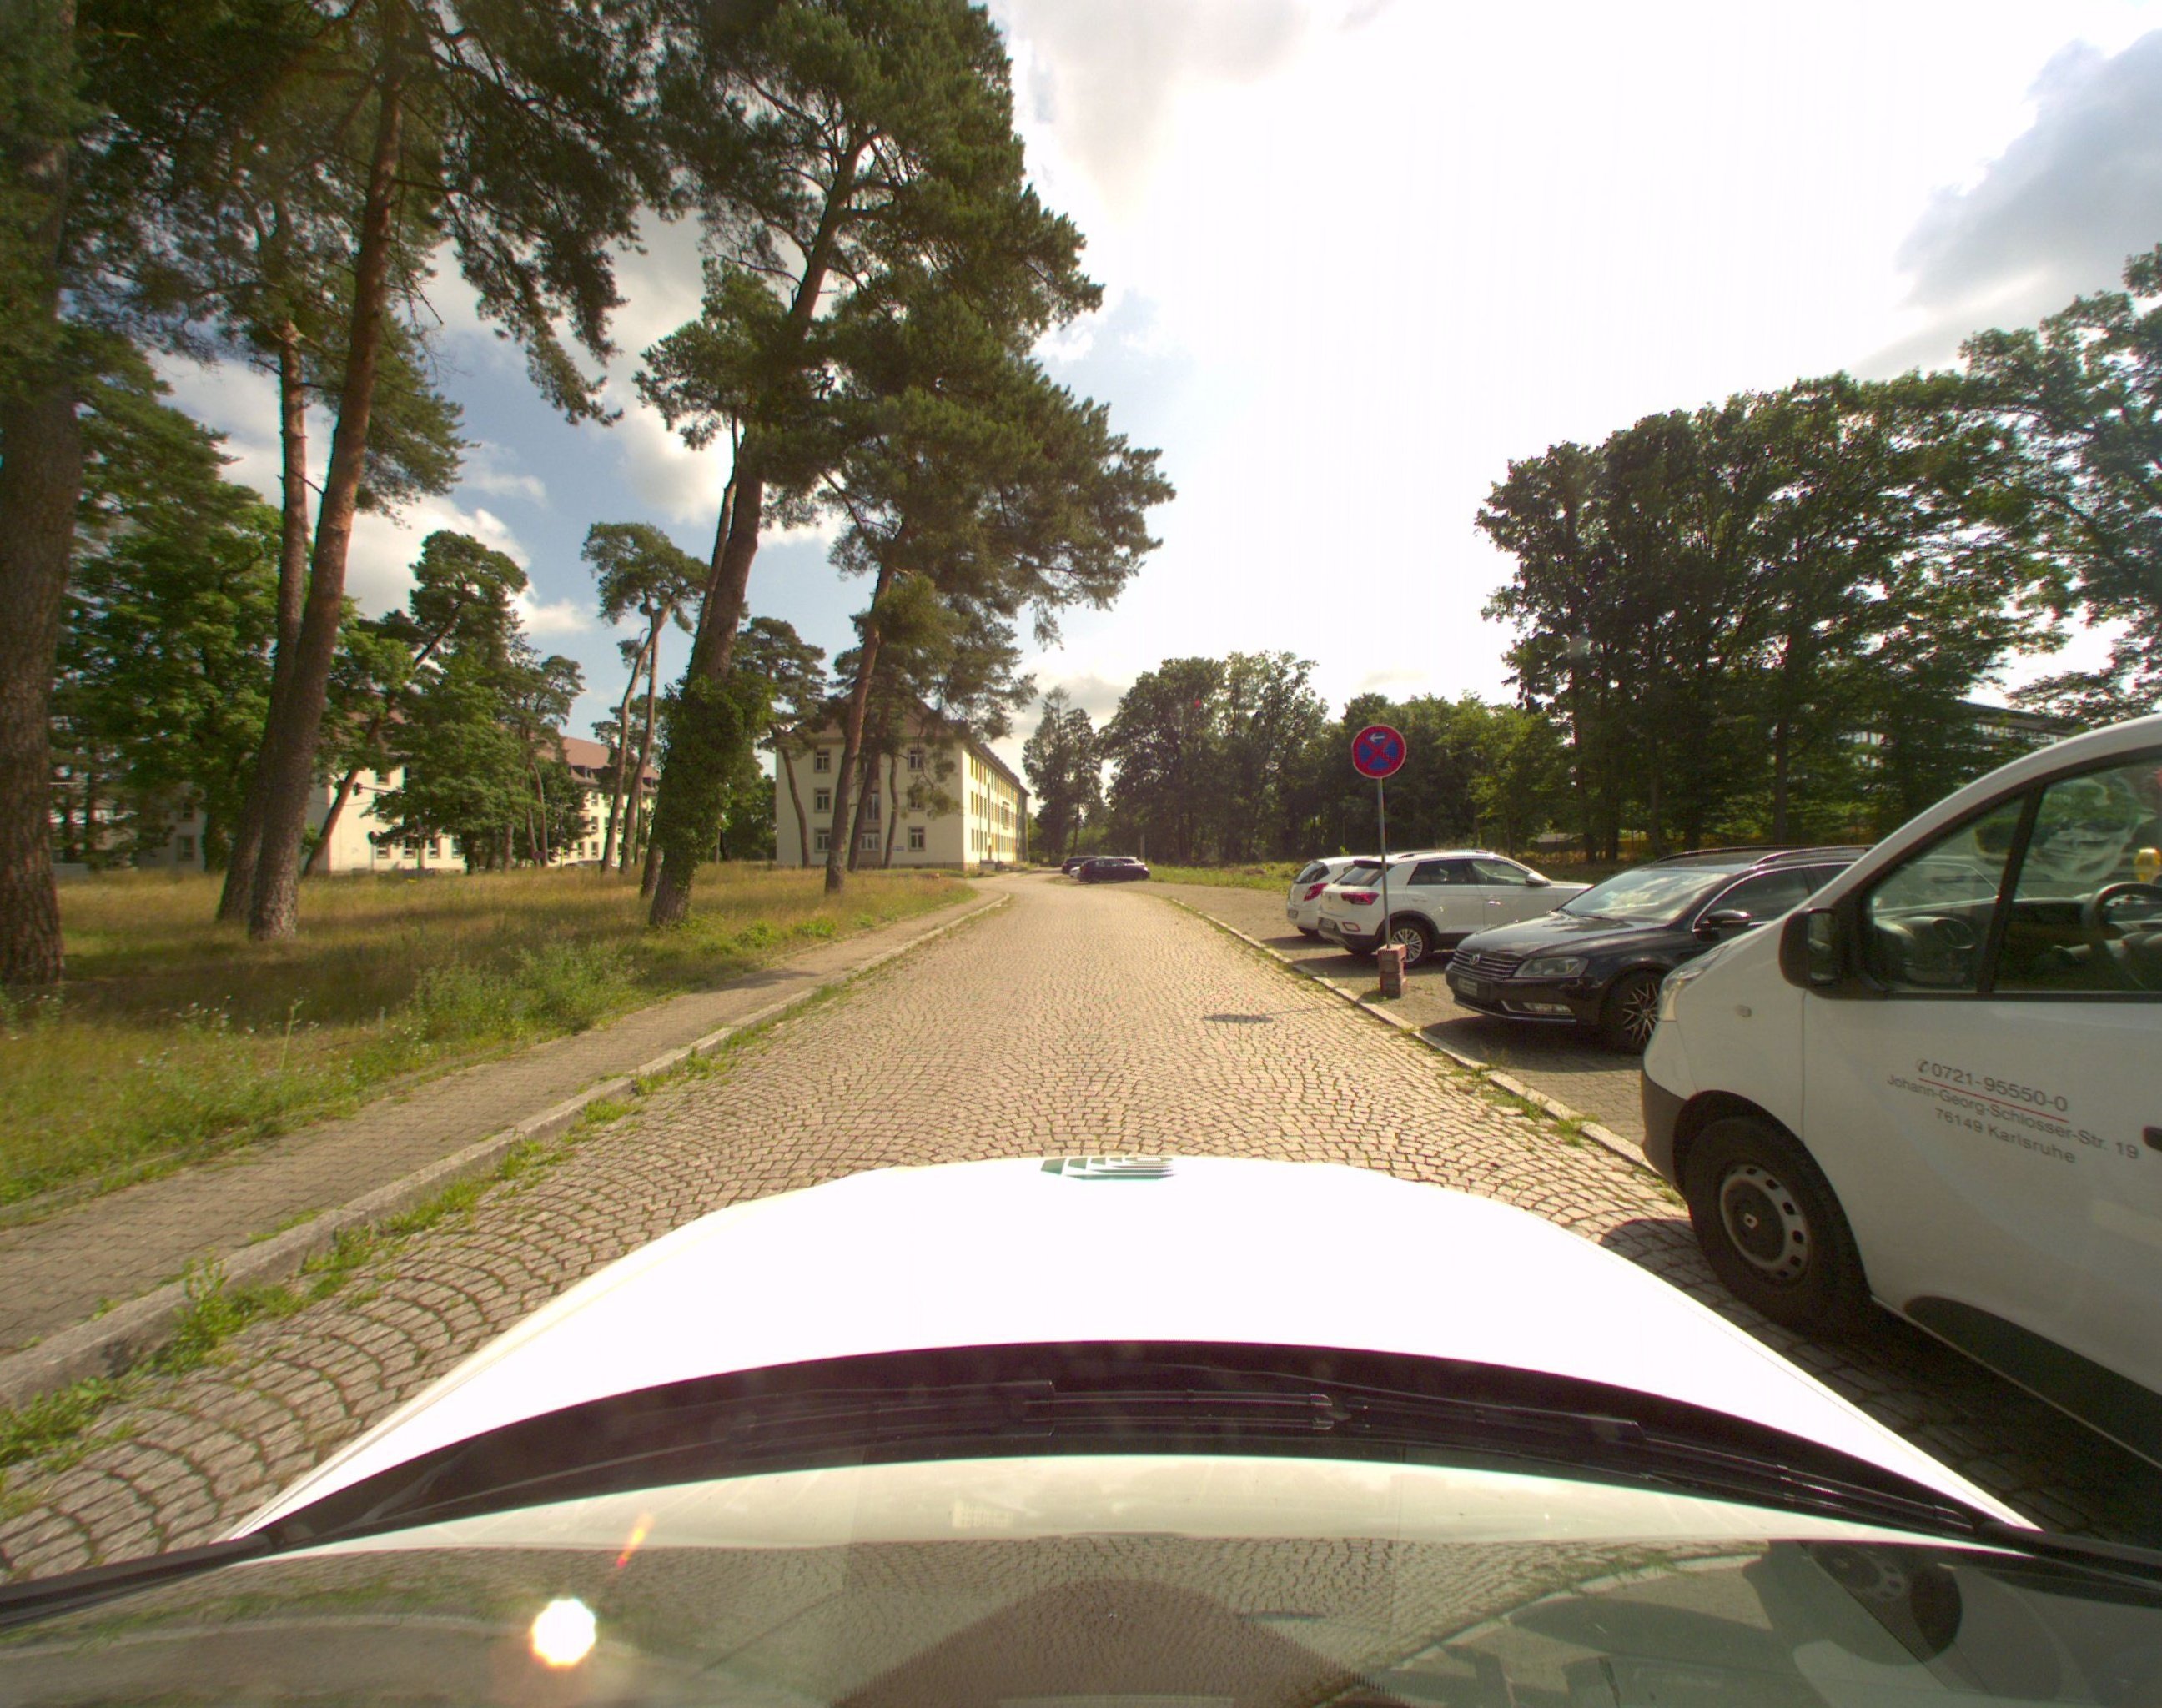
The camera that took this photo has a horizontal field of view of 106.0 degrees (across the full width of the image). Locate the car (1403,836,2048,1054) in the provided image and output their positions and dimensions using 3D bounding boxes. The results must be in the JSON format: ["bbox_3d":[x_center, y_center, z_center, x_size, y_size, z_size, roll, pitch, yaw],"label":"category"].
[{"bbox_3d":[5.437,0.696,7.227,4.445,1.475,1.743,-2,0,-4],"label":"car"}]

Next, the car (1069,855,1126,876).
[{"bbox_3d":[1.259,0.911,64.245,4.386,1.484,1.765,-2,-1,-1],"label":"car"}]

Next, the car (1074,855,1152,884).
[{"bbox_3d":[1.868,0.902,48.359,4.321,1.500,1.825,-2,1,-8],"label":"car"}]

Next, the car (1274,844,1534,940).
[{"bbox_3d":[5.756,0.655,14.818,4.032,1.464,1.703,-2,0,-2],"label":"car"}]

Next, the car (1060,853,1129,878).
[{"bbox_3d":[0.978,0.842,58.932,4.839,1.552,1.879,-2,-1,-1],"label":"car"}]

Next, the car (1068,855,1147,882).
[{"bbox_3d":[1.636,0.908,51.578,4.848,1.472,1.874,-2,1,-1],"label":"car"}]

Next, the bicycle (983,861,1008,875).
[{"bbox_3d":[-7.869,1.256,75.045,2.210,1.260,0.624,-1,-1,6],"label":"bicycle"}]

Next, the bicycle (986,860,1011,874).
[{"bbox_3d":[-7.743,1.232,76.074,2.213,1.260,0.623,-1,-1,2],"label":"bicycle"}]

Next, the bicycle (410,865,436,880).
[{"bbox_3d":[-49.147,1.394,60.839,0.486,1.101,1.591,-1,-1,12],"label":"bicycle"}]

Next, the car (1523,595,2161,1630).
[{"bbox_3d":[3.073,0.497,1.178,1.907,2.053,5.681,-1,0,2],"label":"car"}]

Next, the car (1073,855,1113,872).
[{"bbox_3d":[1.267,1.015,87.060,4.171,1.543,1.821,-2,-1,2],"label":"car"}]

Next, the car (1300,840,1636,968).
[{"bbox_3d":[5.393,0.663,11.696,3.977,1.507,1.745,-2,0,-2],"label":"car"}]

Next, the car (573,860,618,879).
[{"bbox_3d":[-54.925,1.756,92.211,4.044,1.991,1.713,-1,-1,1],"label":"car"}]
